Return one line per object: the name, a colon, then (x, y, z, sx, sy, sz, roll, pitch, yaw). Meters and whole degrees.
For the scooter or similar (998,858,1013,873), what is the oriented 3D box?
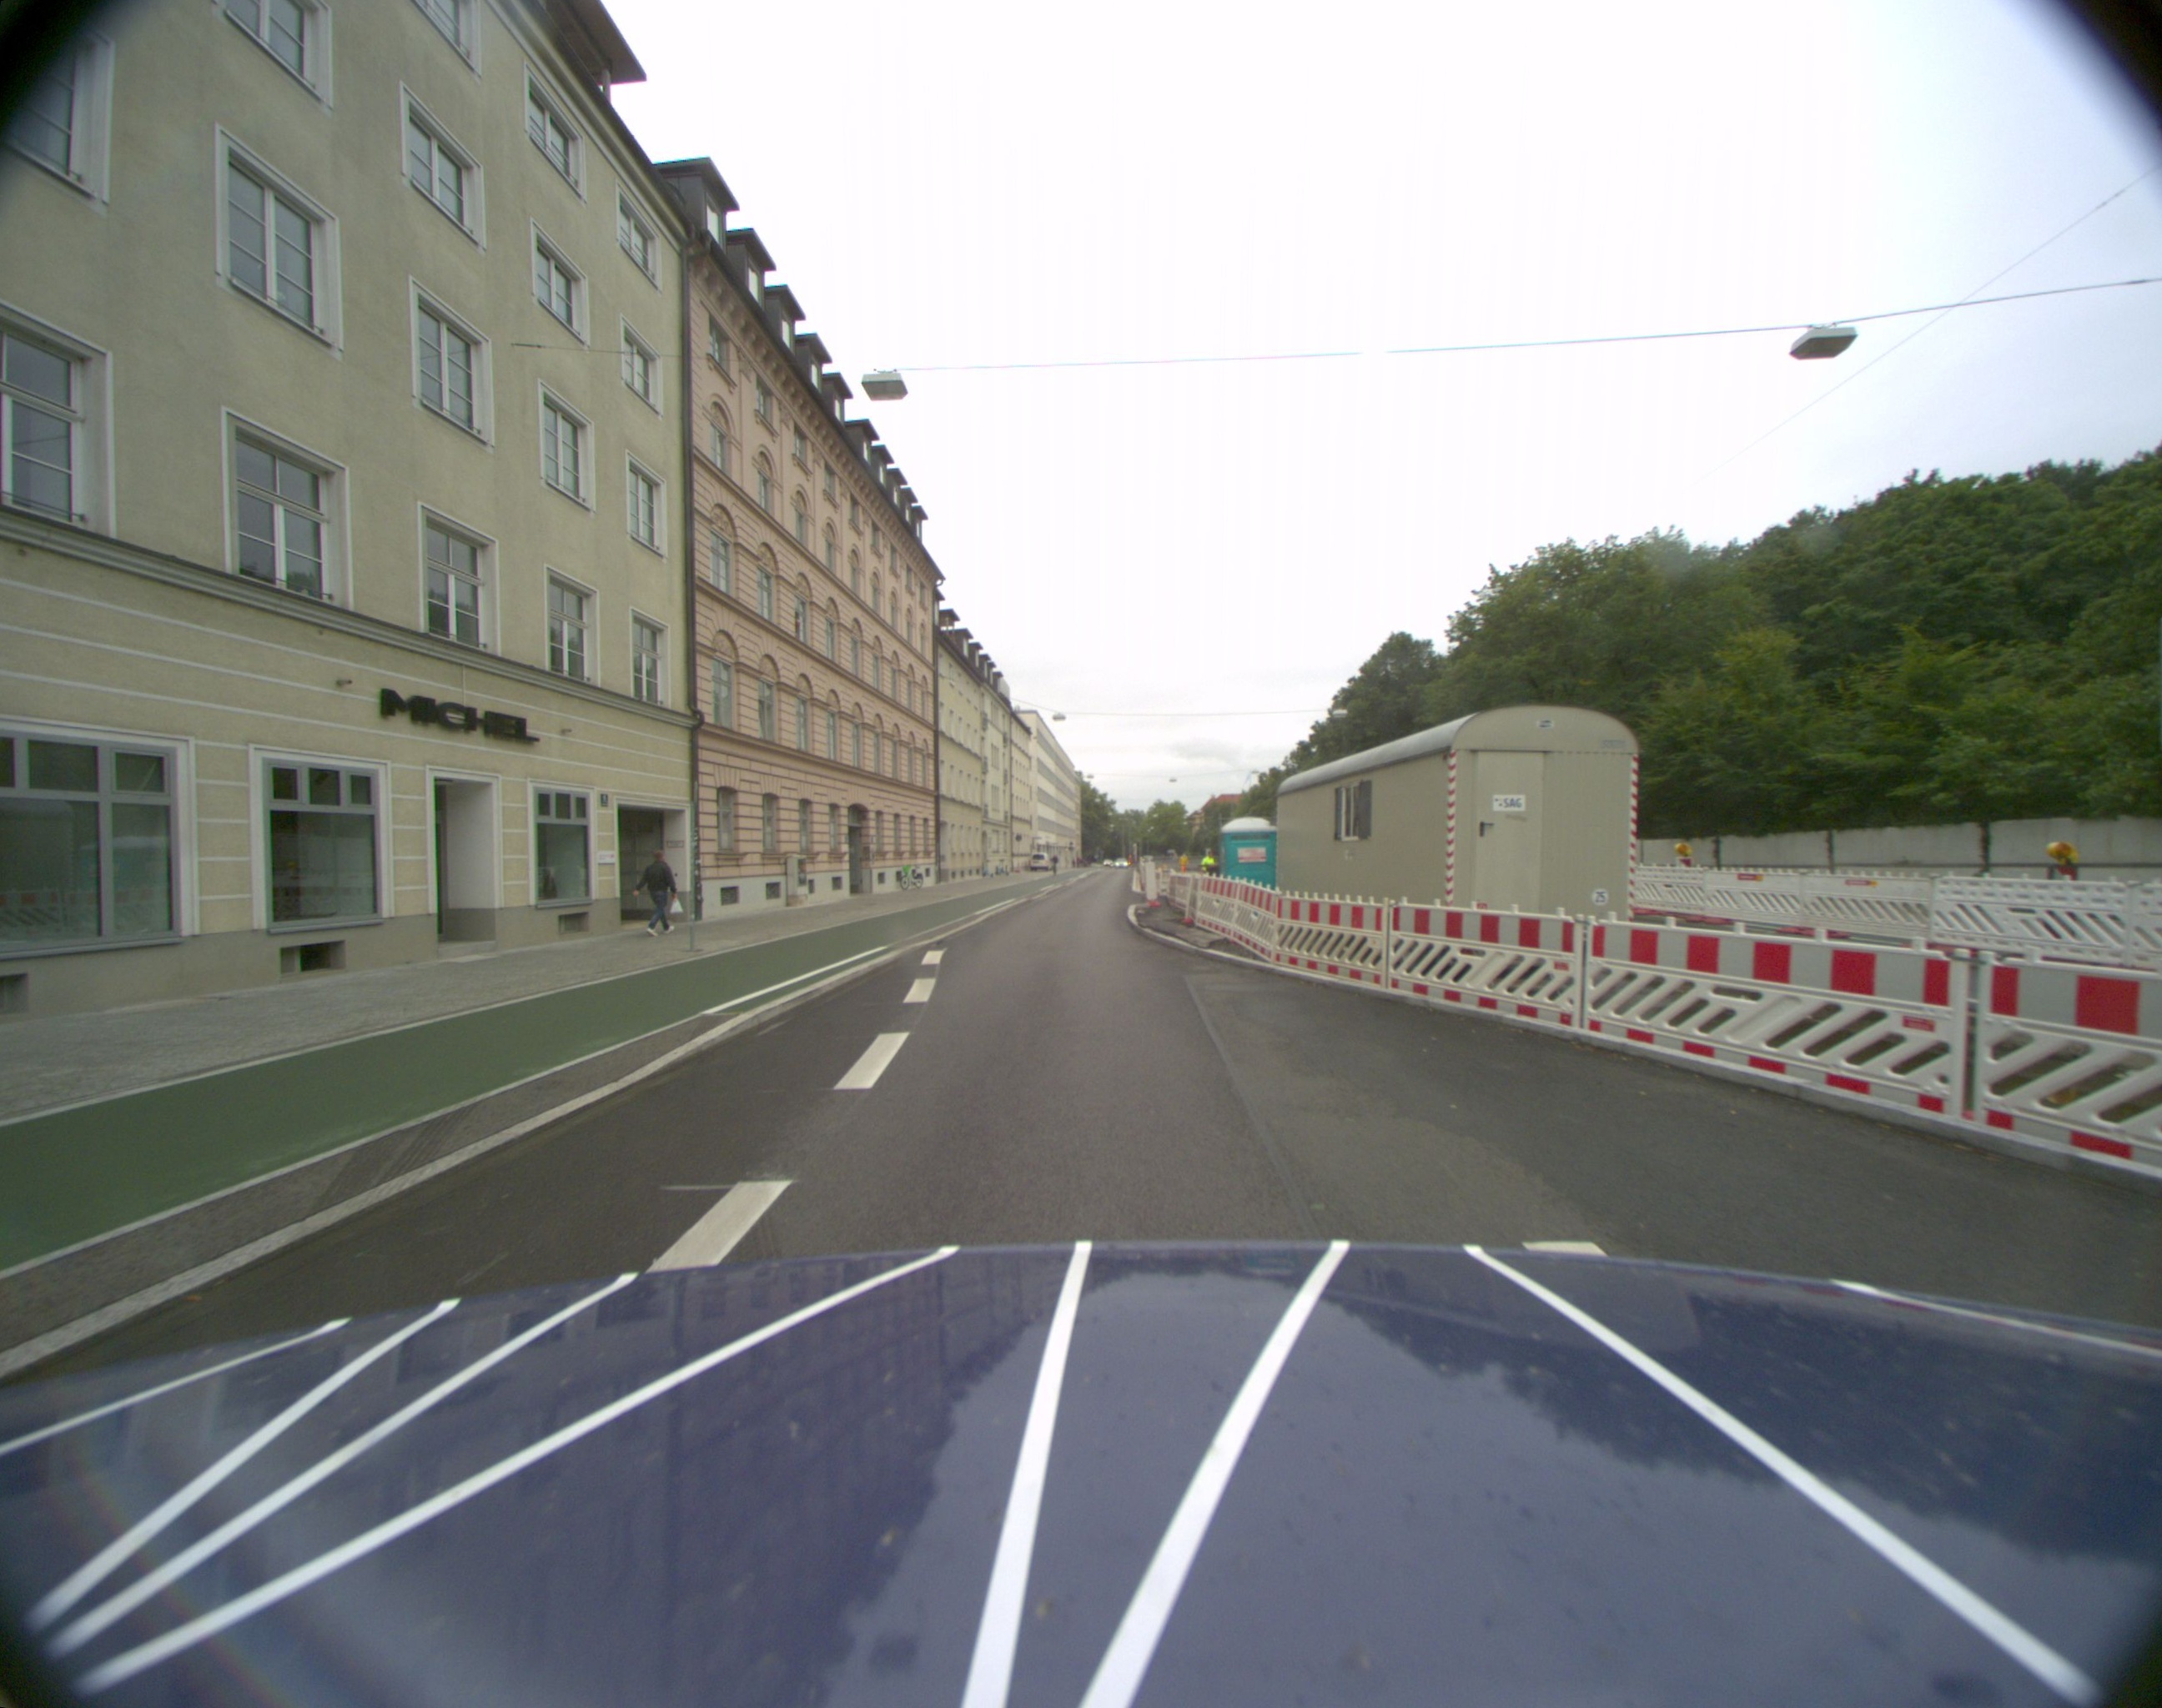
scooter or similar: (-5.828, 0.882, 58.650, 1.078, 1.185, 0.453, -1, 1, -25)

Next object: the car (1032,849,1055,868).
car: (-3.718, 0.430, 76.147, 1.765, 1.821, 4.001, -1, 0, 4)

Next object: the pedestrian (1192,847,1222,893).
pedestrian: (5.151, 0.647, 31.088, 0.815, 1.793, 0.991, 0, 3, -15)

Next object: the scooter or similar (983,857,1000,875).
scooter or similar: (-6.357, 0.825, 53.859, 0.552, 1.238, 1.079, 0, 1, 39)

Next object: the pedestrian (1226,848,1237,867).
pedestrian: (13.473, 0.305, 68.137, 0.899, 1.678, 0.911, -1, 1, 7)

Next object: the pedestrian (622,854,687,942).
pedestrian: (-8.620, 0.872, 15.389, 0.795, 1.735, 0.833, -1, 1, 5)

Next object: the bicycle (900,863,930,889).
bicycle: (-7.712, 1.006, 35.340, 0.556, 1.170, 1.727, 0, 0, 19)

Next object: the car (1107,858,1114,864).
car: (9.051, 2.173, 229.317, 1.998, 1.560, 4.001, -1, 0, 3)

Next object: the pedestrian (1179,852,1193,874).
pedestrian: (8.578, 0.728, 62.106, 0.861, 1.826, 0.873, -1, 1, -20)

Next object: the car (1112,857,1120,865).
car: (8.677, 1.721, 189.180, 1.998, 2.002, 4.000, -3, 1, 2)

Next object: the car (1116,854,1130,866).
car: (5.909, 0.819, 106.621, 1.758, 1.461, 4.001, -2, 0, 5)

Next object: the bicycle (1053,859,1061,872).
bicycle: (-1.989, 0.942, 63.193, 0.632, 1.031, 2.017, -1, 0, -2)

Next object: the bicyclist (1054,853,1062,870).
bicyclist: (-1.924, 0.631, 63.209, 0.632, 1.459, 0.653, -1, 1, -3)

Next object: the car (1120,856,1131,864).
car: (8.387, 1.125, 143.153, 1.759, 1.461, 4.000, -2, 0, 0)

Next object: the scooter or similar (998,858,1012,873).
scooter or similar: (-6.003, 0.893, 60.001, 1.079, 1.185, 0.436, -1, 1, -36)
